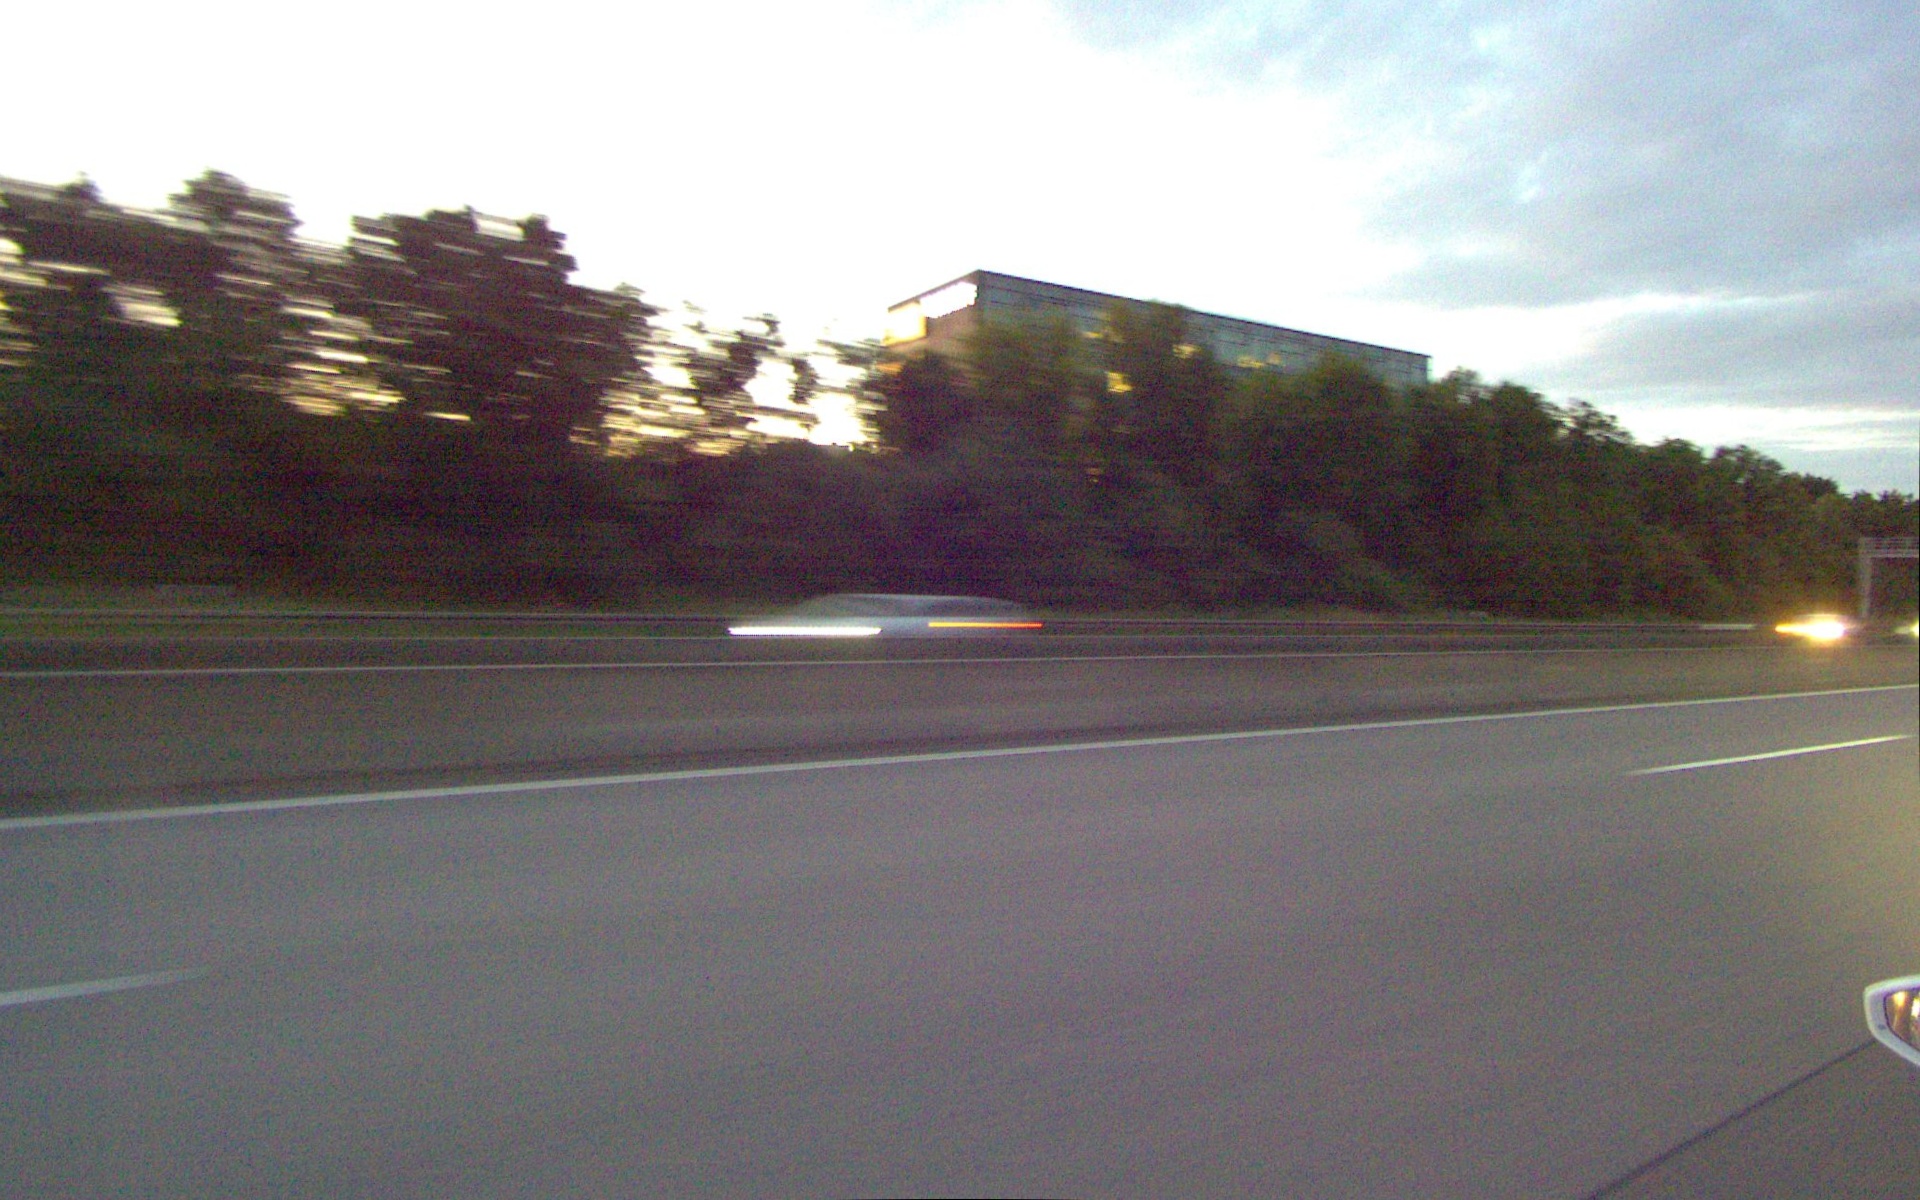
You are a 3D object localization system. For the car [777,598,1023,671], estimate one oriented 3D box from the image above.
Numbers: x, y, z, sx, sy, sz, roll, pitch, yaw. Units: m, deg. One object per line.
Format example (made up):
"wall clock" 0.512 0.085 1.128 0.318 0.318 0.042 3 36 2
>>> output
"car" -1.195 0.704 21.044 4.853 1.354 1.825 2 0 -31

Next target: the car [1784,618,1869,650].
"car" 44.458 1.763 51.518 4.455 1.525 1.983 2 0 -31

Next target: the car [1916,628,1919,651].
"car" 69.201 2.839 70.429 4.951 1.554 1.983 2 0 -32
